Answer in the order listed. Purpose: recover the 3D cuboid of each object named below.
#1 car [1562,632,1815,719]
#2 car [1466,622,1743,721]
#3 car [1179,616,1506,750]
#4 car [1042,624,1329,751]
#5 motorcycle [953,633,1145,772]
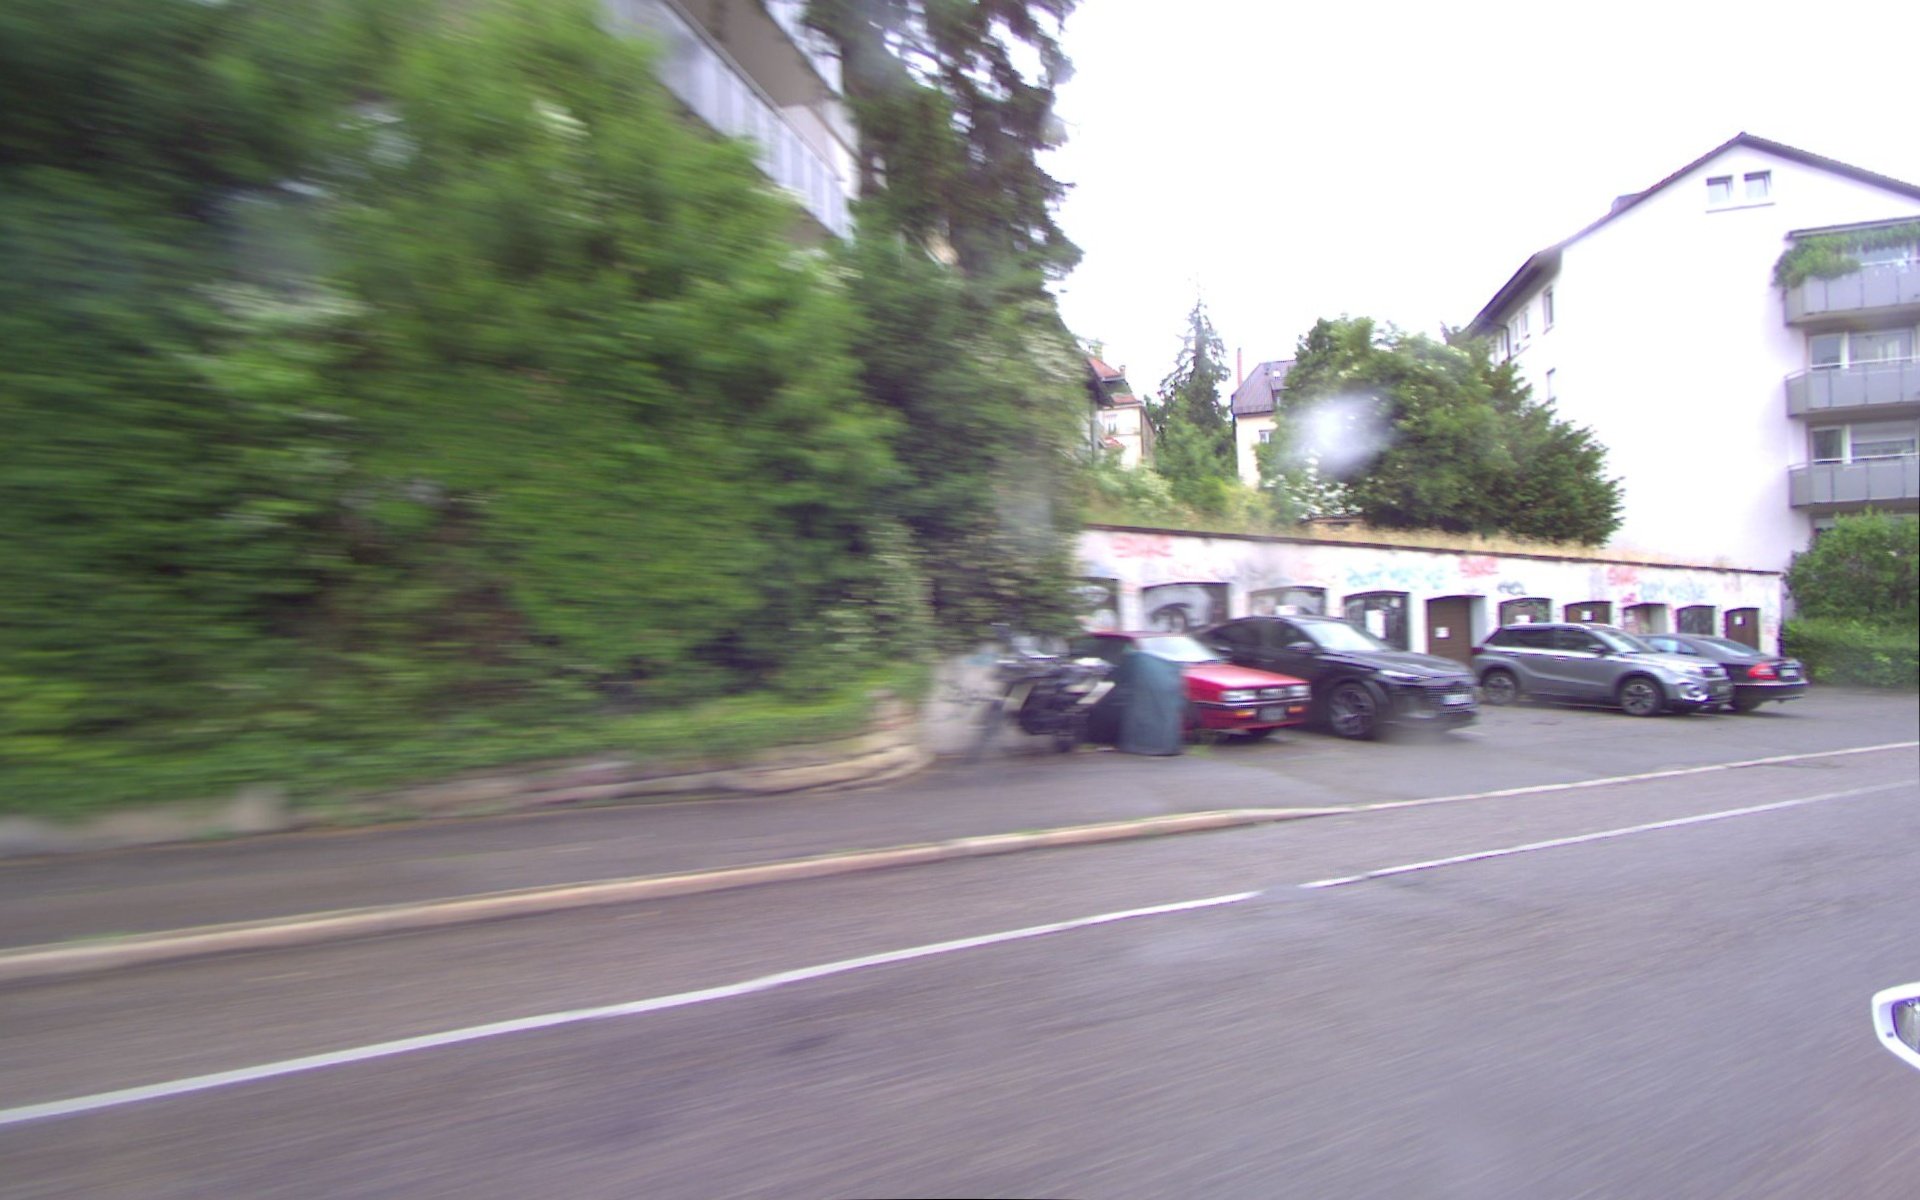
[{"bbox_3d":[14.063,1.383,19.587,1.761,1.426,3.617,0,0,-28],"label":"car"},{"bbox_3d":[11.897,1.252,18.775,1.861,1.580,3.963,2,-1,-33],"label":"car"},{"bbox_3d":[5.423,1.070,14.869,1.793,1.624,4.428,0,0,-30],"label":"car"},{"bbox_3d":[2.945,1.091,13.696,1.700,1.424,3.607,2,-1,-35],"label":"car"},{"bbox_3d":[1.004,1.043,10.741,2.303,1.338,0.611,3,-2,-41],"label":"motorcycle"}]
